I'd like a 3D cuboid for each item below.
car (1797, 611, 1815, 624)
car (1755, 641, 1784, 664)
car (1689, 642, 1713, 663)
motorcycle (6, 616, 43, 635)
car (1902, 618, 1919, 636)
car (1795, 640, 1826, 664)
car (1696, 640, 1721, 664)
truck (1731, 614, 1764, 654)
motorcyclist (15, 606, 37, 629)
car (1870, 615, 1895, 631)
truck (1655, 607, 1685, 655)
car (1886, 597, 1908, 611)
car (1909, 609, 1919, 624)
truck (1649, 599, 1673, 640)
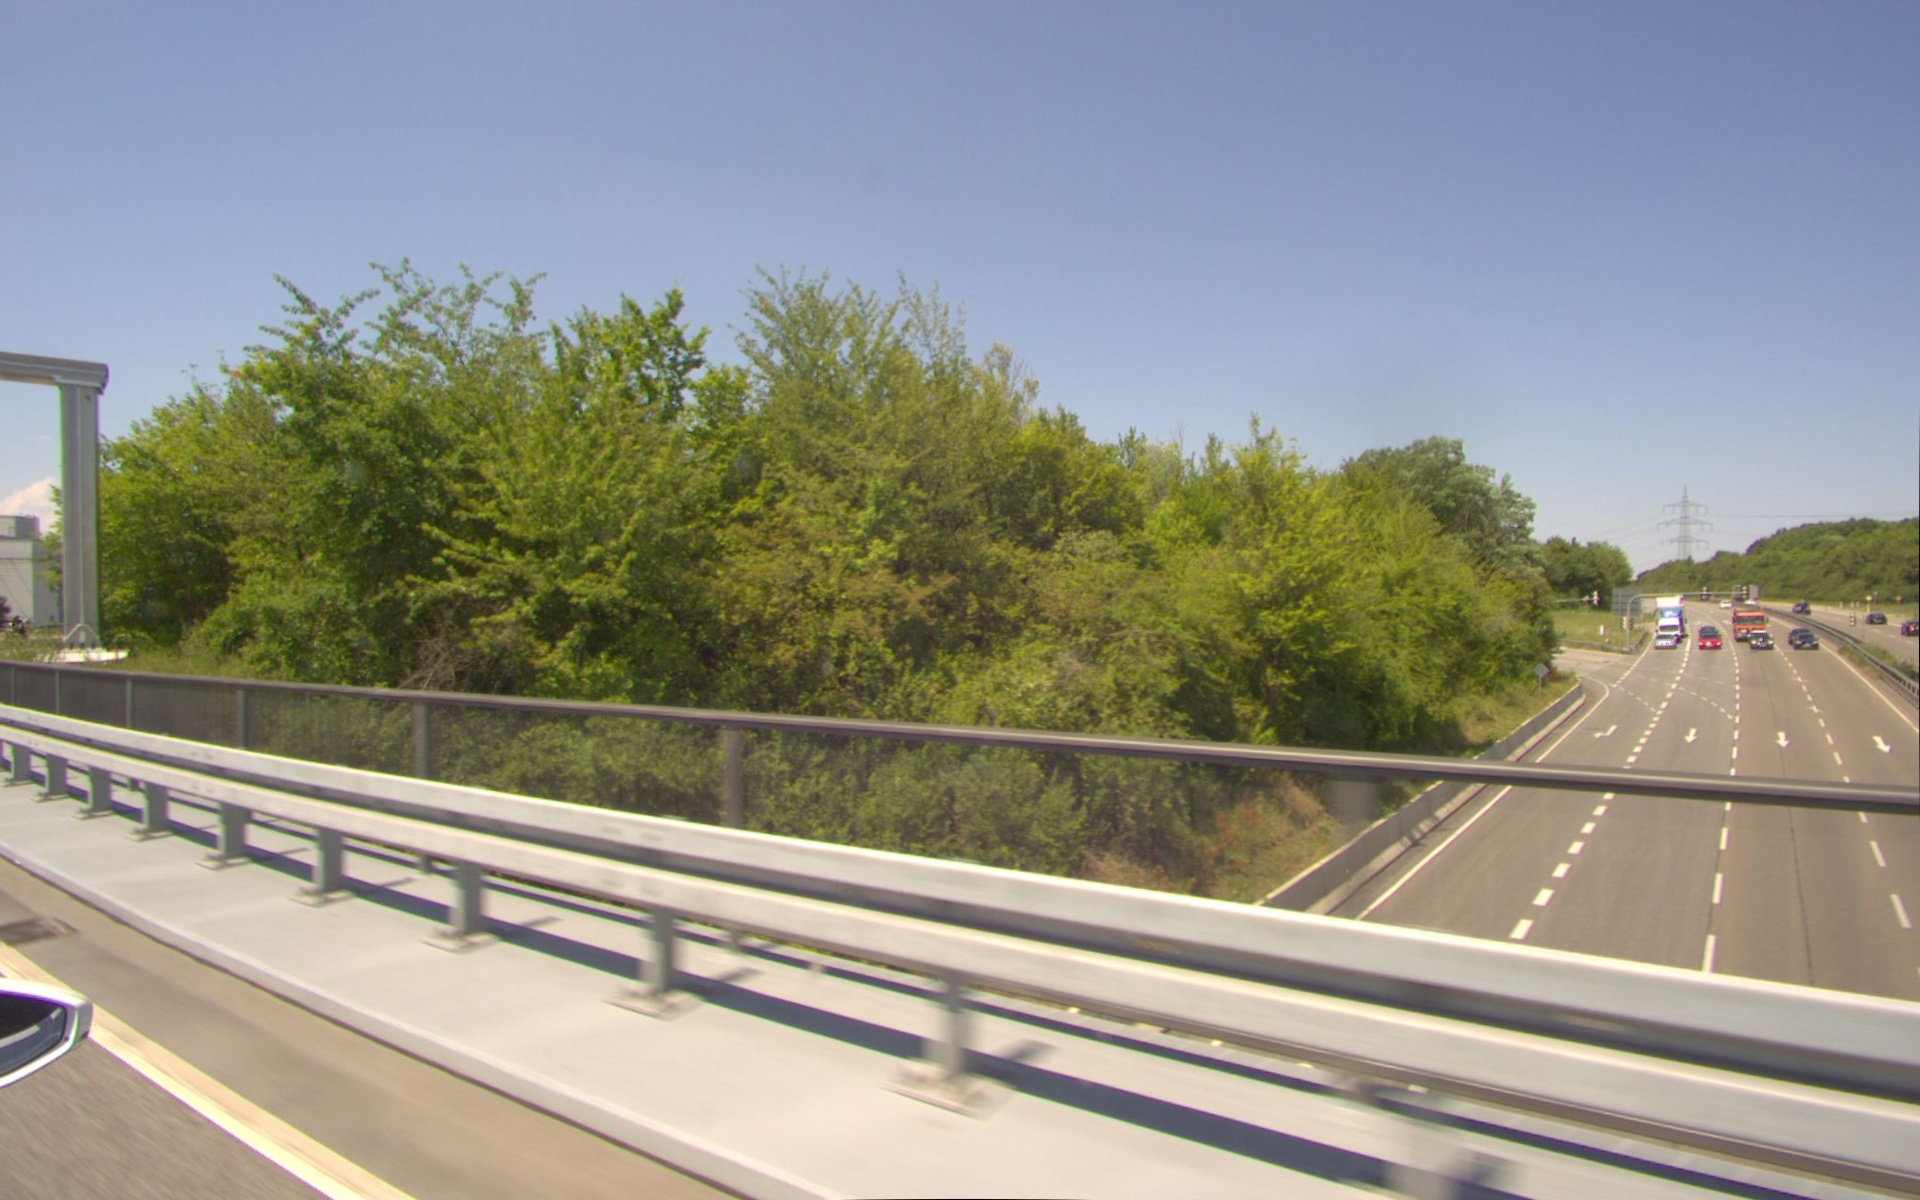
[{"bbox_3d":[136.673,2.809,161.857,1.975,2.040,3.972,-1,-1,37],"label":"car"},{"bbox_3d":[76.991,4.950,95.315,1.975,2.040,3.973,-1,-1,37],"label":"car"},{"bbox_3d":[77.174,5.454,104.247,1.975,2.040,3.973,-1,-1,37],"label":"car"},{"bbox_3d":[-54.392,1.464,58.261,0.554,1.094,2.281,0,-1,-15],"label":"motorcycle"},{"bbox_3d":[103.482,2.855,108.267,1.975,1.881,3.972,-1,-1,37],"label":"car"},{"bbox_3d":[80.151,4.866,94.367,1.975,2.040,3.973,-1,-1,37],"label":"car"},{"bbox_3d":[74.042,5.125,99.023,1.959,2.238,3.973,-1,-1,37],"label":"car"},{"bbox_3d":[84.661,3.604,107.619,2.681,4.063,8.817,-1,-1,39],"label":"truck"},{"bbox_3d":[-54.419,1.034,58.326,0.664,1.320,0.722,-1,0,-15],"label":"motorcyclist"},{"bbox_3d":[120.326,3.007,130.592,1.975,2.040,3.972,-1,-1,37],"label":"car"},{"bbox_3d":[78.399,3.306,110.717,2.543,5.075,12.330,-1,-1,35],"label":"truck"},{"bbox_3d":[139.877,0.583,149.557,1.975,2.040,3.972,-1,-1,37],"label":"car"},{"bbox_3d":[131.987,2.199,137.522,1.975,2.040,3.972,-1,-1,37],"label":"car"},{"bbox_3d":[89.497,2.474,127.902,2.390,5.033,11.012,-1,-1,35],"label":"truck"}]
